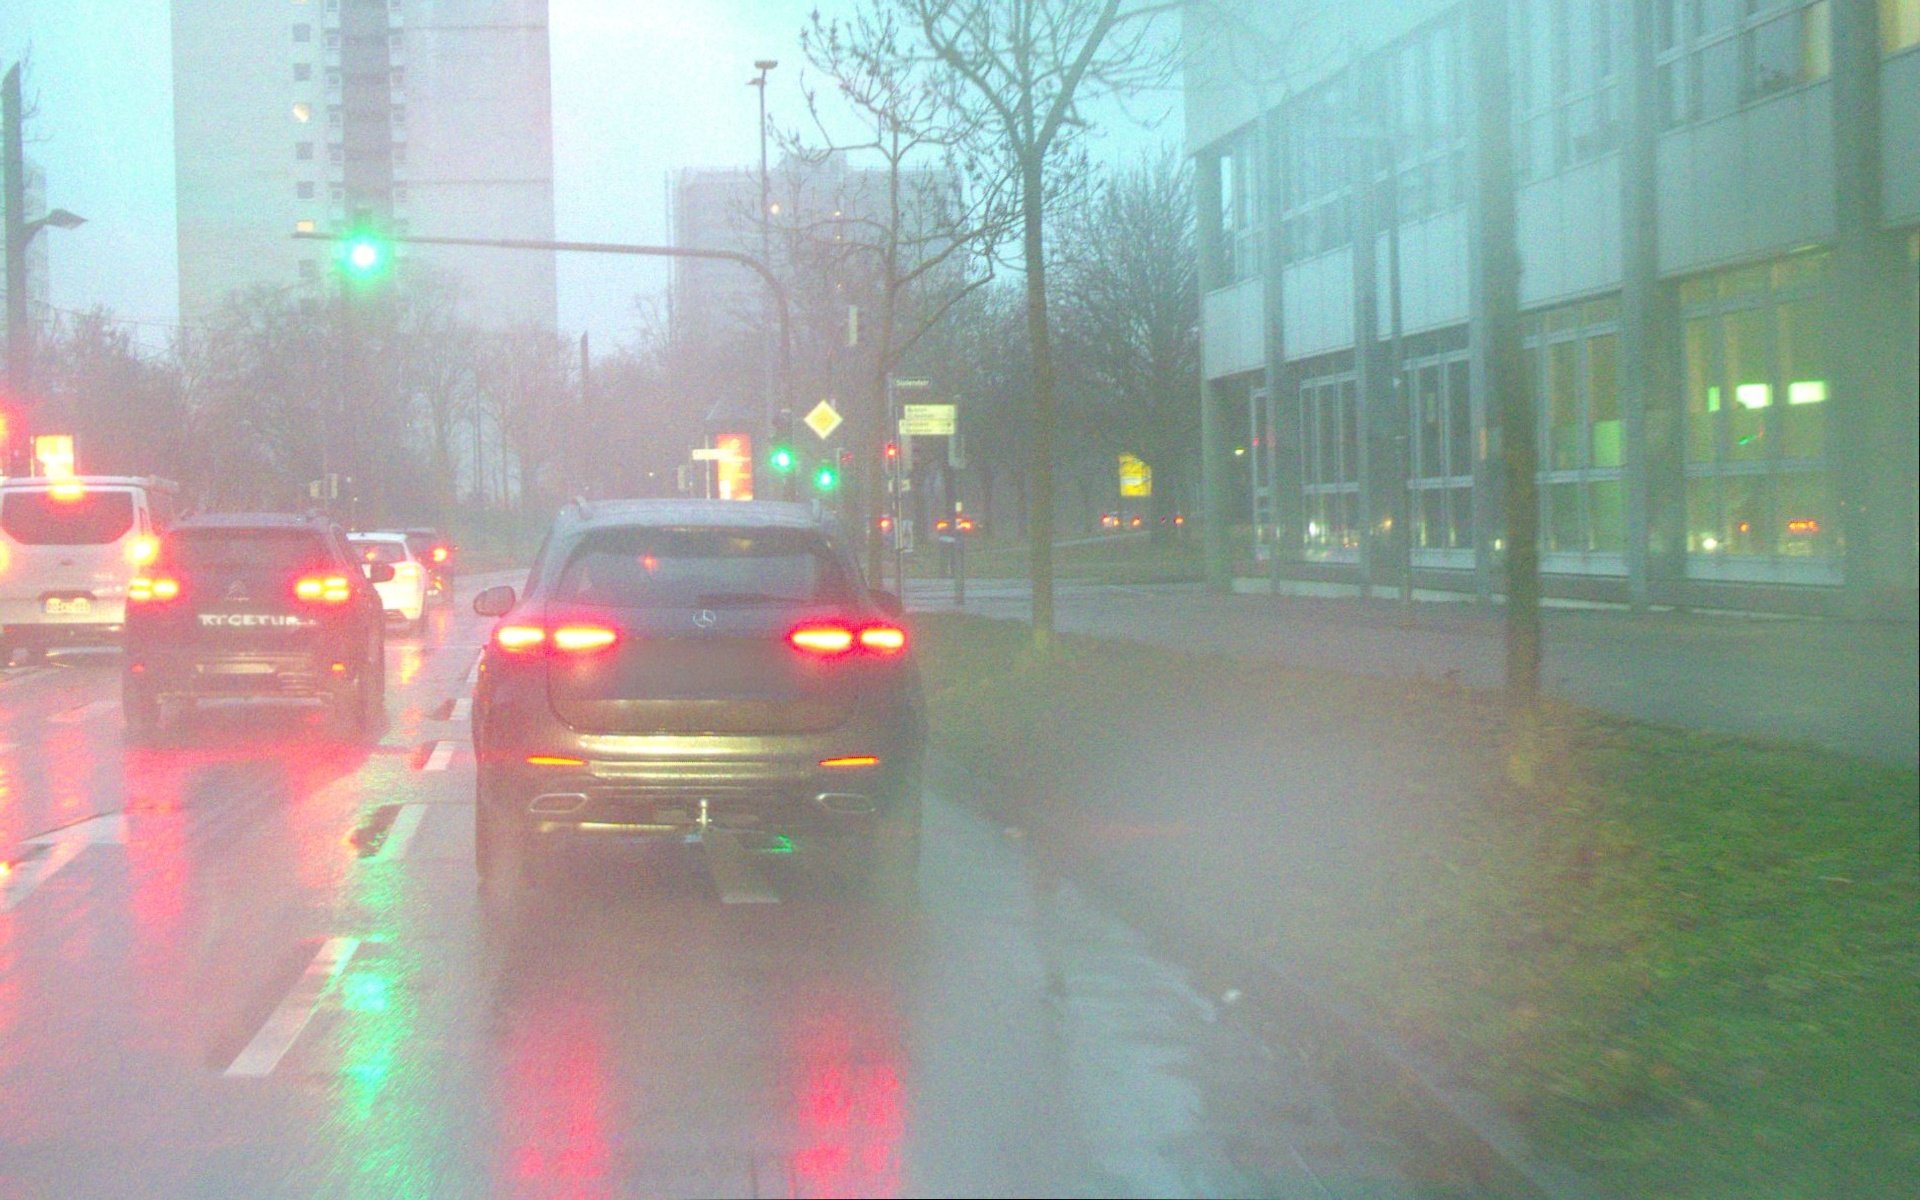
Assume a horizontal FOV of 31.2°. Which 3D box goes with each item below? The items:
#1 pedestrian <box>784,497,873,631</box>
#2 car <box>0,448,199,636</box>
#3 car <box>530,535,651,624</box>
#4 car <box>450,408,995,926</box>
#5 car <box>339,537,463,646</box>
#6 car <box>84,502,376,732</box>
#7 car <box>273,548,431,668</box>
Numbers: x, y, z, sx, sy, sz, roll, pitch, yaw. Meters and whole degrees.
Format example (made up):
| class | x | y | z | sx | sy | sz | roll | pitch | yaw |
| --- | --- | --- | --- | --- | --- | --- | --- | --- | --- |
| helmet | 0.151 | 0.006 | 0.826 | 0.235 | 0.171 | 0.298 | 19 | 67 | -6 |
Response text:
| class | x | y | z | sx | sy | sz | roll | pitch | yaw |
| --- | --- | --- | --- | --- | --- | --- | --- | --- | --- |
| pedestrian | -1.796 | -0.496 | 47.083 | 0.796 | 1.744 | 0.861 | -4 | 2 | 20 |
| car | -10.004 | -0.677 | 39.496 | 1.952 | 2.026 | 4.884 | 0 | 1 | -7 |
| car | -6.047 | -0.353 | 55.941 | 1.886 | 1.349 | 4.103 | 0 | 2 | -7 |
| car | -1.200 | 0.251 | 15.240 | 1.993 | 1.969 | 4.069 | 0 | 0 | -10 |
| car | -10.609 | -0.163 | 65.456 | 1.993 | 2.007 | 4.001 | 0 | 0 | -4 |
| car | -5.805 | 0.125 | 27.786 | 1.993 | 1.706 | 4.325 | 0 | 0 | -8 |
| car | -8.623 | 0.101 | 49.052 | 1.993 | 1.636 | 4.023 | 0 | 0 | -7 |
